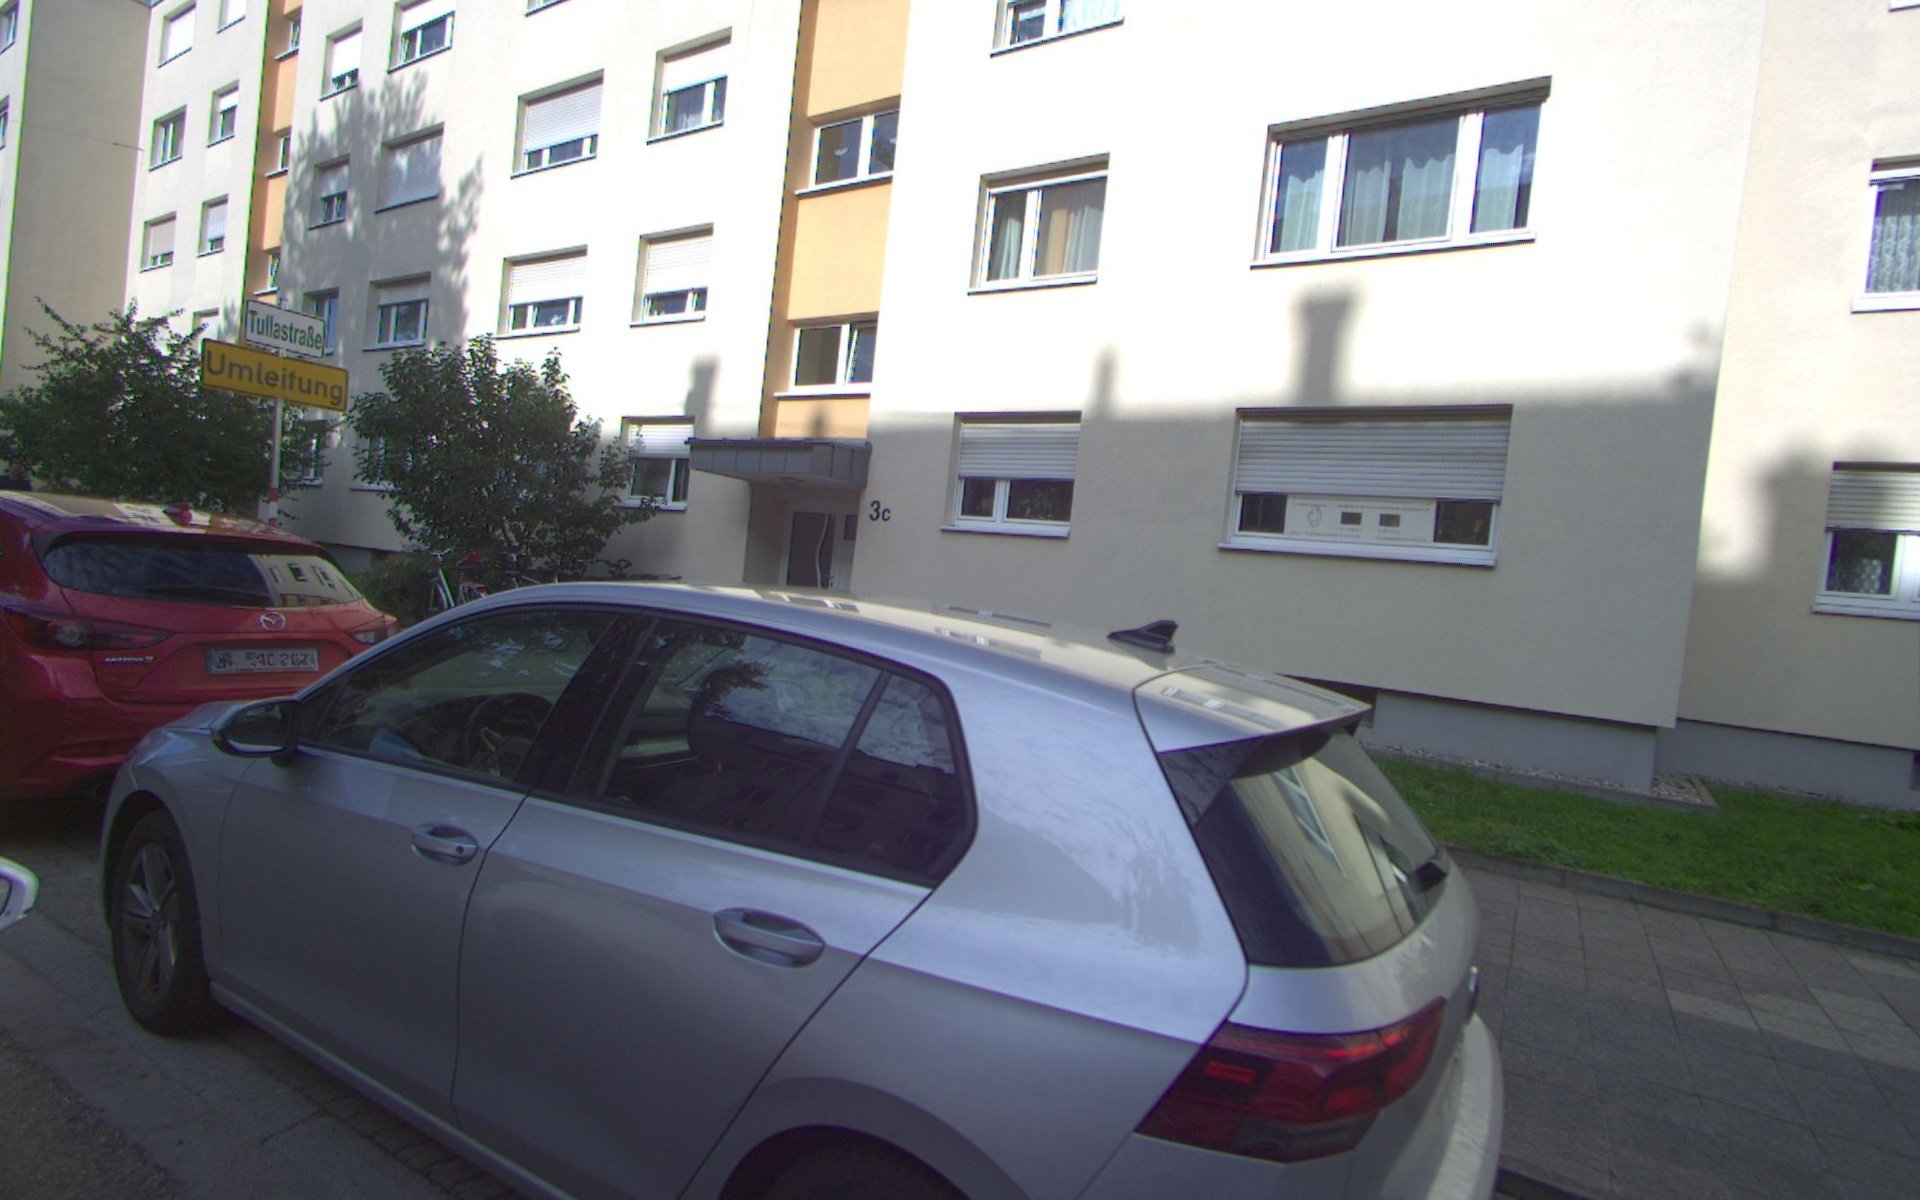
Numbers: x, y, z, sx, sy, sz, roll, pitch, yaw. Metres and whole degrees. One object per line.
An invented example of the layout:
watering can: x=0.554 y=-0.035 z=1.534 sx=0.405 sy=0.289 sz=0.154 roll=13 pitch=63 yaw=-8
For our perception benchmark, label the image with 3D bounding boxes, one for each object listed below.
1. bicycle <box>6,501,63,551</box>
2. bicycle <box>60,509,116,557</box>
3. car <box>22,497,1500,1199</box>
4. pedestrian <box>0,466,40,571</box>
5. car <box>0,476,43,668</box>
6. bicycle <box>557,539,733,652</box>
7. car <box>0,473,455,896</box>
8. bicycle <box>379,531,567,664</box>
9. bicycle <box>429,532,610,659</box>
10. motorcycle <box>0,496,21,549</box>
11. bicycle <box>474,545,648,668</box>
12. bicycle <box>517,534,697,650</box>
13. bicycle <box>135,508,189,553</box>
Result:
bicycle: x=-20.390 y=-1.636 z=22.148 sx=1.491 sy=0.954 sz=0.459 roll=7 pitch=2 yaw=30
bicycle: x=-19.779 y=-1.518 z=22.807 sx=1.491 sy=0.939 sz=0.459 roll=7 pitch=2 yaw=30
car: x=-0.811 y=0.608 z=2.887 sx=3.990 sy=1.434 sz=1.663 roll=6 pitch=2 yaw=31
pedestrian: x=-16.615 y=-1.435 z=17.578 sx=0.759 sy=1.743 sz=0.542 roll=7 pitch=1 yaw=36
car: x=-9.476 y=-0.436 z=8.238 sx=4.047 sy=1.480 sz=1.730 roll=6 pitch=1 yaw=30
bicycle: x=-4.500 y=-0.080 z=14.260 sx=2.591 sy=1.307 sz=0.727 roll=6 pitch=0 yaw=31
car: x=-4.846 y=0.149 z=5.359 sx=4.119 sy=1.535 sz=1.731 roll=6 pitch=1 yaw=28
bicycle: x=-5.802 y=-0.055 z=11.909 sx=2.591 sy=1.308 sz=0.604 roll=6 pitch=1 yaw=31
bicycle: x=-5.504 y=-0.088 z=12.470 sx=2.591 sy=1.308 sz=0.604 roll=6 pitch=2 yaw=31
motorcycle: x=-20.853 y=-1.720 z=21.370 sx=2.353 sy=1.058 sz=0.631 roll=7 pitch=2 yaw=30
bicycle: x=-5.188 y=0.047 z=12.988 sx=2.591 sy=1.309 sz=0.595 roll=6 pitch=4 yaw=31
bicycle: x=-4.803 y=-0.129 z=13.609 sx=2.591 sy=1.308 sz=0.727 roll=6 pitch=1 yaw=31
bicycle: x=-19.136 y=-1.679 z=24.109 sx=1.491 sy=0.939 sz=0.459 roll=7 pitch=2 yaw=30
